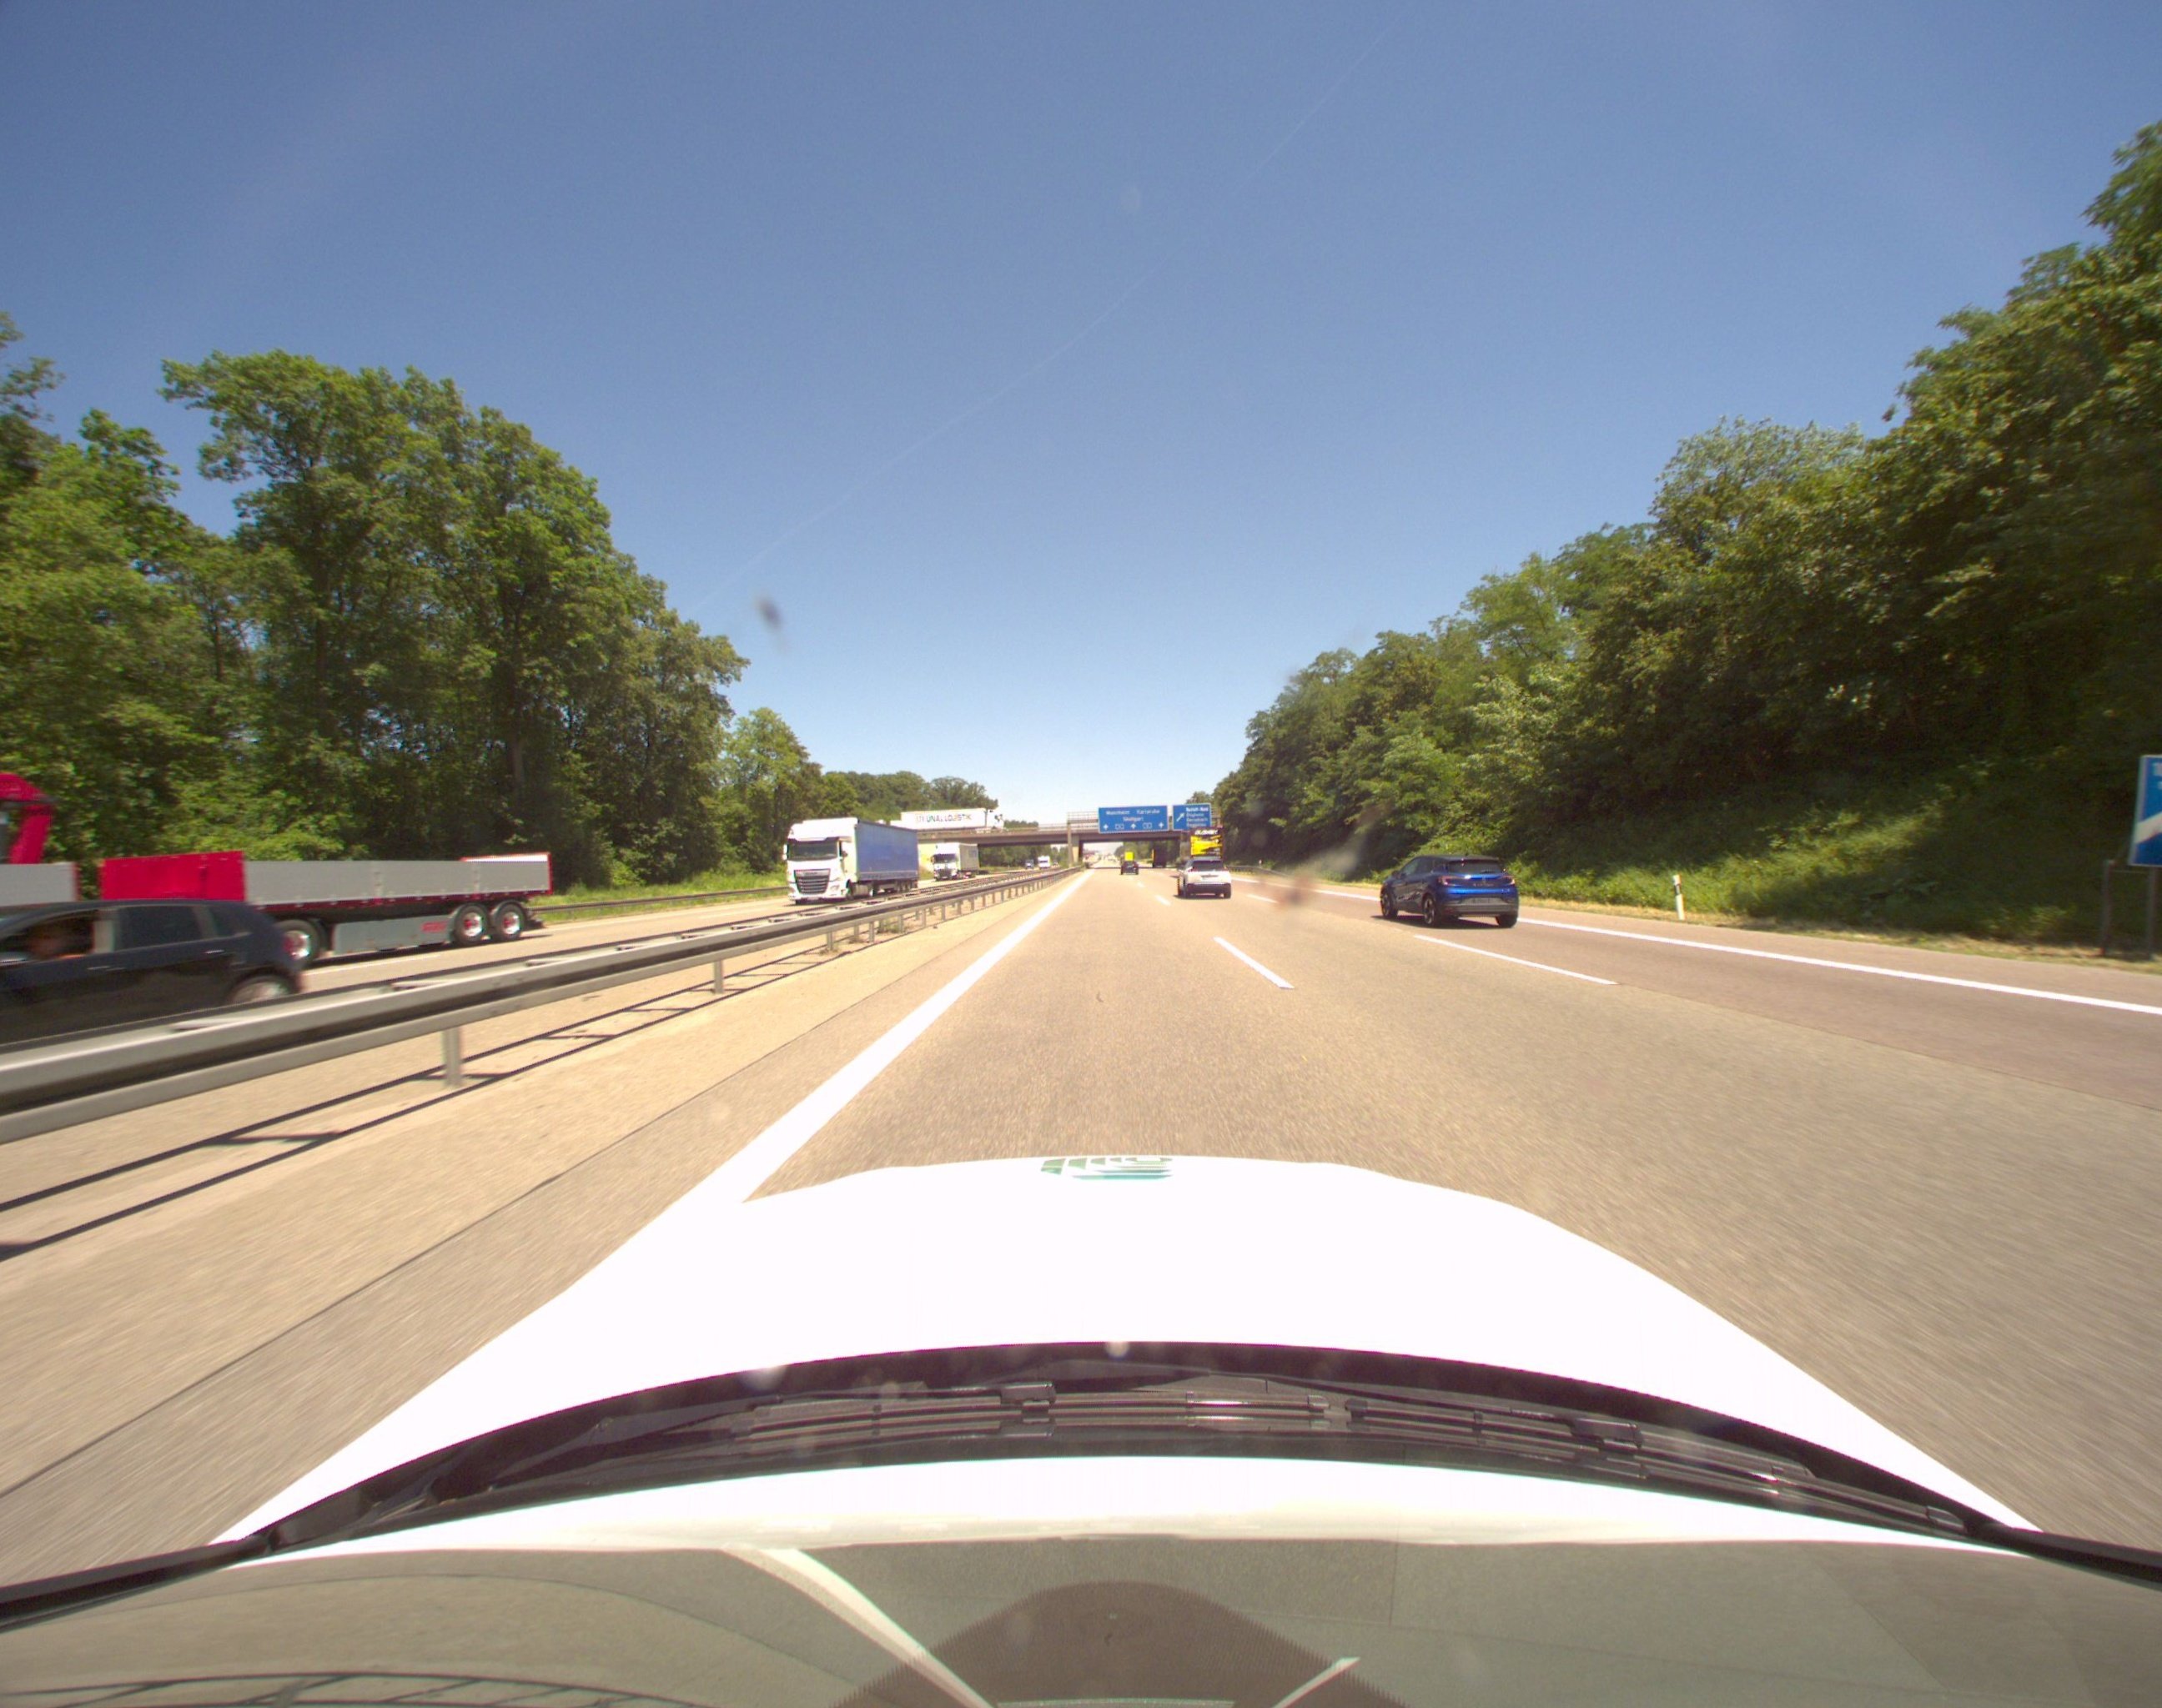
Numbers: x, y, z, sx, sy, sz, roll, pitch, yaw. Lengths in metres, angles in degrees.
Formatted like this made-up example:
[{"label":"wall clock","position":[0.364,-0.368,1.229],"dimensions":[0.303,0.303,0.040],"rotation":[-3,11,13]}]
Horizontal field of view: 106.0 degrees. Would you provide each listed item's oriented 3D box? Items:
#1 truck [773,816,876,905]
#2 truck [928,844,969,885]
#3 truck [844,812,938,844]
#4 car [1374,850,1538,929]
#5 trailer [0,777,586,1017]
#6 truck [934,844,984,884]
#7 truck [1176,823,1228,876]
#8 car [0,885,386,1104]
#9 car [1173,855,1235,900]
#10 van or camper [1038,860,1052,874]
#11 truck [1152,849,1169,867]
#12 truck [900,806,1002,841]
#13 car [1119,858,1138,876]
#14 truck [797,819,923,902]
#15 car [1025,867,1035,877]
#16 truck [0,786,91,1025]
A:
[{"label":"truck","position":[-12.393,0.331,40.008],"dimensions":[2.975,4.019,6.043],"rotation":[0,-1,2]},{"label":"truck","position":[-14.503,1.158,89.733],"dimensions":[2.958,4.062,6.461],"rotation":[-4,-1,2]},{"label":"truck","position":[-34.829,-4.772,149.904],"dimensions":[16.439,5.566,3.168],"rotation":[0,-1,-6]},{"label":"car","position":[8.270,0.740,18.406],"dimensions":[1.863,1.556,4.203],"rotation":[0,-1,2]},{"label":"trailer","position":[-16.447,0.696,17.730],"dimensions":[2.769,3.394,13.295],"rotation":[0,-1,2]},{"label":"truck","position":[-14.322,1.155,96.919],"dimensions":[3.054,4.251,13.966],"rotation":[-4,-1,2]},{"label":"truck","position":[9.829,-0.271,67.484],"dimensions":[2.964,4.037,10.984],"rotation":[1,-1,2]},{"label":"car","position":[-9.146,1.138,7.234],"dimensions":[1.800,1.591,4.670],"rotation":[0,-1,2]},{"label":"car","position":[4.794,0.899,32.339],"dimensions":[1.820,1.608,4.810],"rotation":[-1,-1,1]},{"label":"van or camper","position":[-7.970,2.916,181.345],"dimensions":[2.583,2.907,7.236],"rotation":[0,-1,2]},{"label":"truck","position":[15.201,0.790,154.963],"dimensions":[3.013,3.319,10.788],"rotation":[0,-1,6]},{"label":"truck","position":[-21.258,-5.066,134.047],"dimensions":[16.426,5.566,3.170],"rotation":[0,-1,-4]},{"label":"car","position":[4.729,1.276,81.741],"dimensions":[1.820,1.706,4.001],"rotation":[0,-1,1]},{"label":"truck","position":[-12.175,0.424,46.783],"dimensions":[2.975,4.019,13.941],"rotation":[0,-1,2]},{"label":"car","position":[-12.444,4.284,198.925],"dimensions":[2.082,2.399,5.733],"rotation":[0,-1,0]},{"label":"truck","position":[-16.767,0.696,8.723],"dimensions":[2.738,3.394,7.664],"rotation":[0,-1,2]}]
